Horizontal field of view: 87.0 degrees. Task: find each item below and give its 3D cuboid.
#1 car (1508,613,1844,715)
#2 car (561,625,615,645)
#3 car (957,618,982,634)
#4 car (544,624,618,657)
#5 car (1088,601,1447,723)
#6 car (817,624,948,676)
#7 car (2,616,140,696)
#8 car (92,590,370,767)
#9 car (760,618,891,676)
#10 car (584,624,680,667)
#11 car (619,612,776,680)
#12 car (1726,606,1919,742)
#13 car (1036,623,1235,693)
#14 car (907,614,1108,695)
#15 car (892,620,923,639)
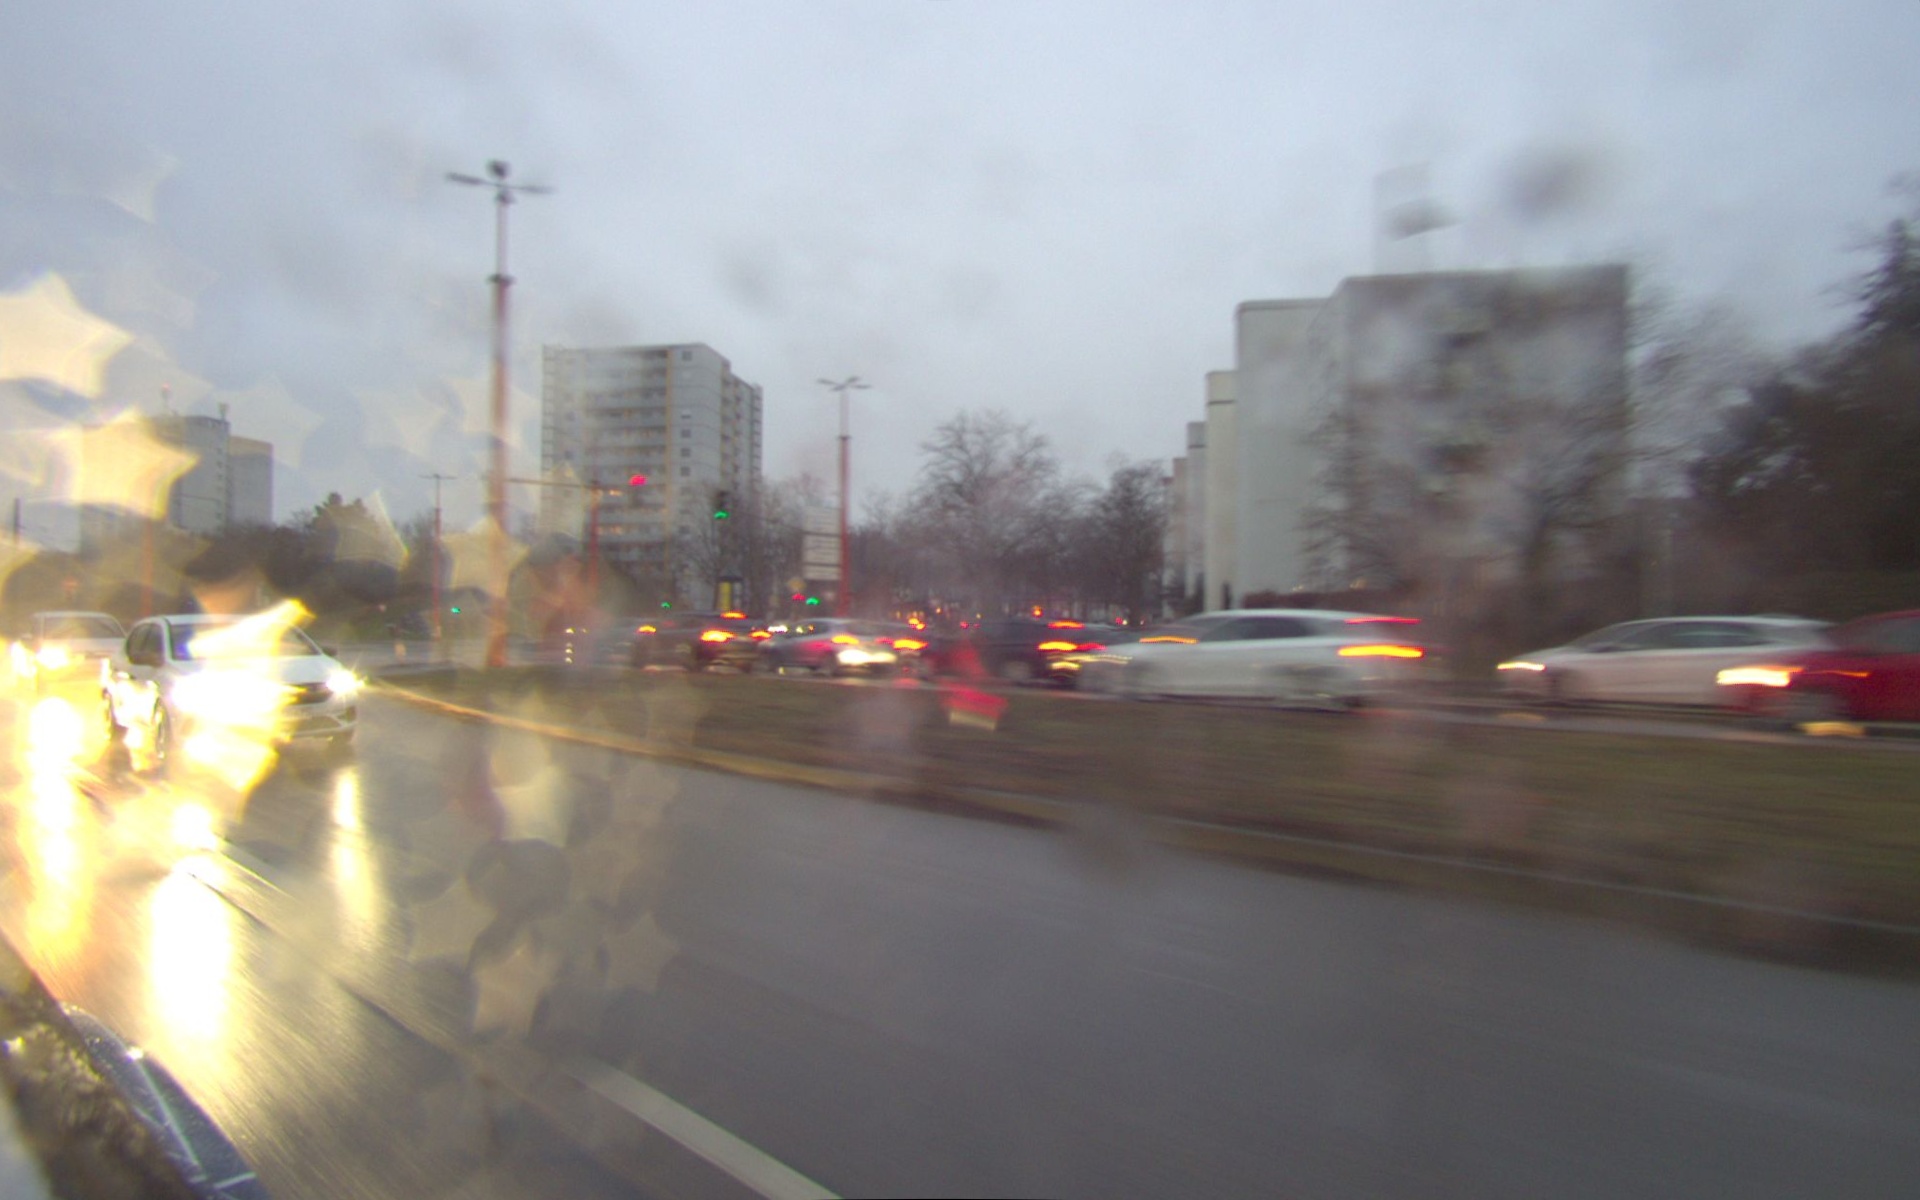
[{"bbox_3d":[11.904,0.996,17.039,4.437,1.506,1.751,-1,-2,41],"label":"car"},{"bbox_3d":[-29.155,2.744,79.475,1.834,1.556,4.419,0,-2,15],"label":"car"},{"bbox_3d":[1.009,2.633,102.858,1.977,1.541,4.472,0,-1,9],"label":"car"},{"bbox_3d":[-18.347,1.933,48.939,4.014,1.506,1.602,-1,-2,41],"label":"car"},{"bbox_3d":[4.425,0.850,15.101,4.838,1.548,1.751,-1,-2,41],"label":"car"},{"bbox_3d":[-2.328,1.430,29.815,3.907,1.438,1.604,-1,-2,41],"label":"car"},{"bbox_3d":[-19.218,1.131,21.827,4.187,1.551,1.672,-1,0,41],"label":"car"},{"bbox_3d":[-8.409,0.772,11.531,4.145,1.660,1.696,-1,-2,42],"label":"car"},{"bbox_3d":[-3.580,1.199,26.694,3.324,1.431,1.635,-1,-2,41],"label":"car"},{"bbox_3d":[-12.805,1.743,39.454,3.944,1.565,1.752,-1,-2,41],"label":"car"},{"bbox_3d":[-6.783,1.146,25.993,4.074,1.594,1.839,-1,-2,38],"label":"car"},{"bbox_3d":[12.030,0.888,12.454,4.031,1.598,1.751,-1,-2,41],"label":"car"},{"bbox_3d":[4.123,1.322,24.212,4.437,1.506,1.751,-1,-2,41],"label":"car"},{"bbox_3d":[0.982,1.155,22.482,4.285,1.611,1.837,-1,-2,41],"label":"car"},{"bbox_3d":[-4.302,2.391,83.268,1.974,1.541,4.592,0,-1,4],"label":"car"}]
